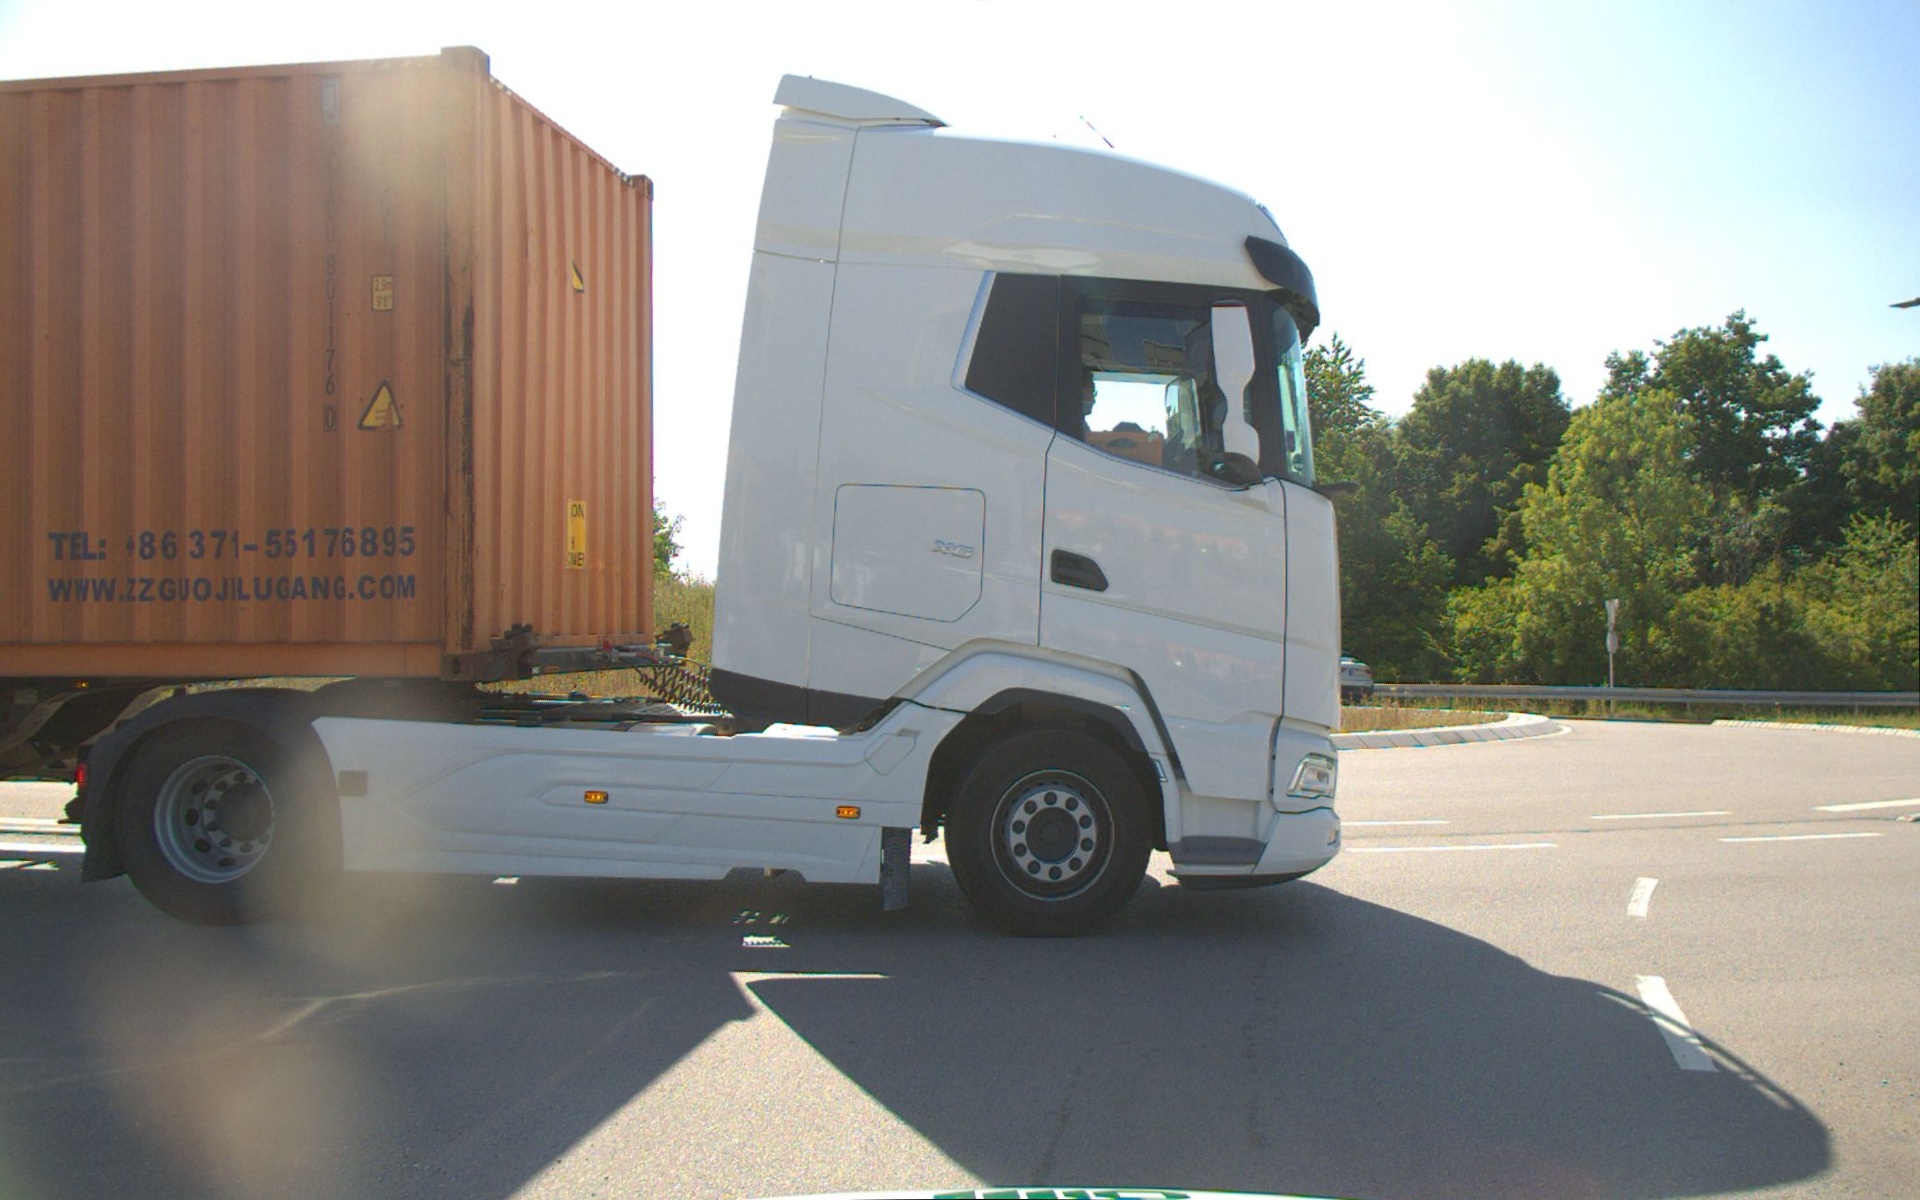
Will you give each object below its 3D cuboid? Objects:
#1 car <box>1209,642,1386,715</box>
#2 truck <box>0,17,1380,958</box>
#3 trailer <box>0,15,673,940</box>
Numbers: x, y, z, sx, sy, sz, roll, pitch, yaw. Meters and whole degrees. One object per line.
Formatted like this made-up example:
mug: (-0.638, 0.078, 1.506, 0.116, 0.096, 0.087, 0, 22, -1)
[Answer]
car: (8.297, 1.904, 40.966, 1.825, 1.624, 4.274, 2, -1, -34)
truck: (-1.203, -0.528, 8.842, 6.279, 4.179, 2.664, 1, -1, 3)
trailer: (-7.930, -0.578, 9.797, 12.057, 4.227, 2.563, 0, -1, 9)
